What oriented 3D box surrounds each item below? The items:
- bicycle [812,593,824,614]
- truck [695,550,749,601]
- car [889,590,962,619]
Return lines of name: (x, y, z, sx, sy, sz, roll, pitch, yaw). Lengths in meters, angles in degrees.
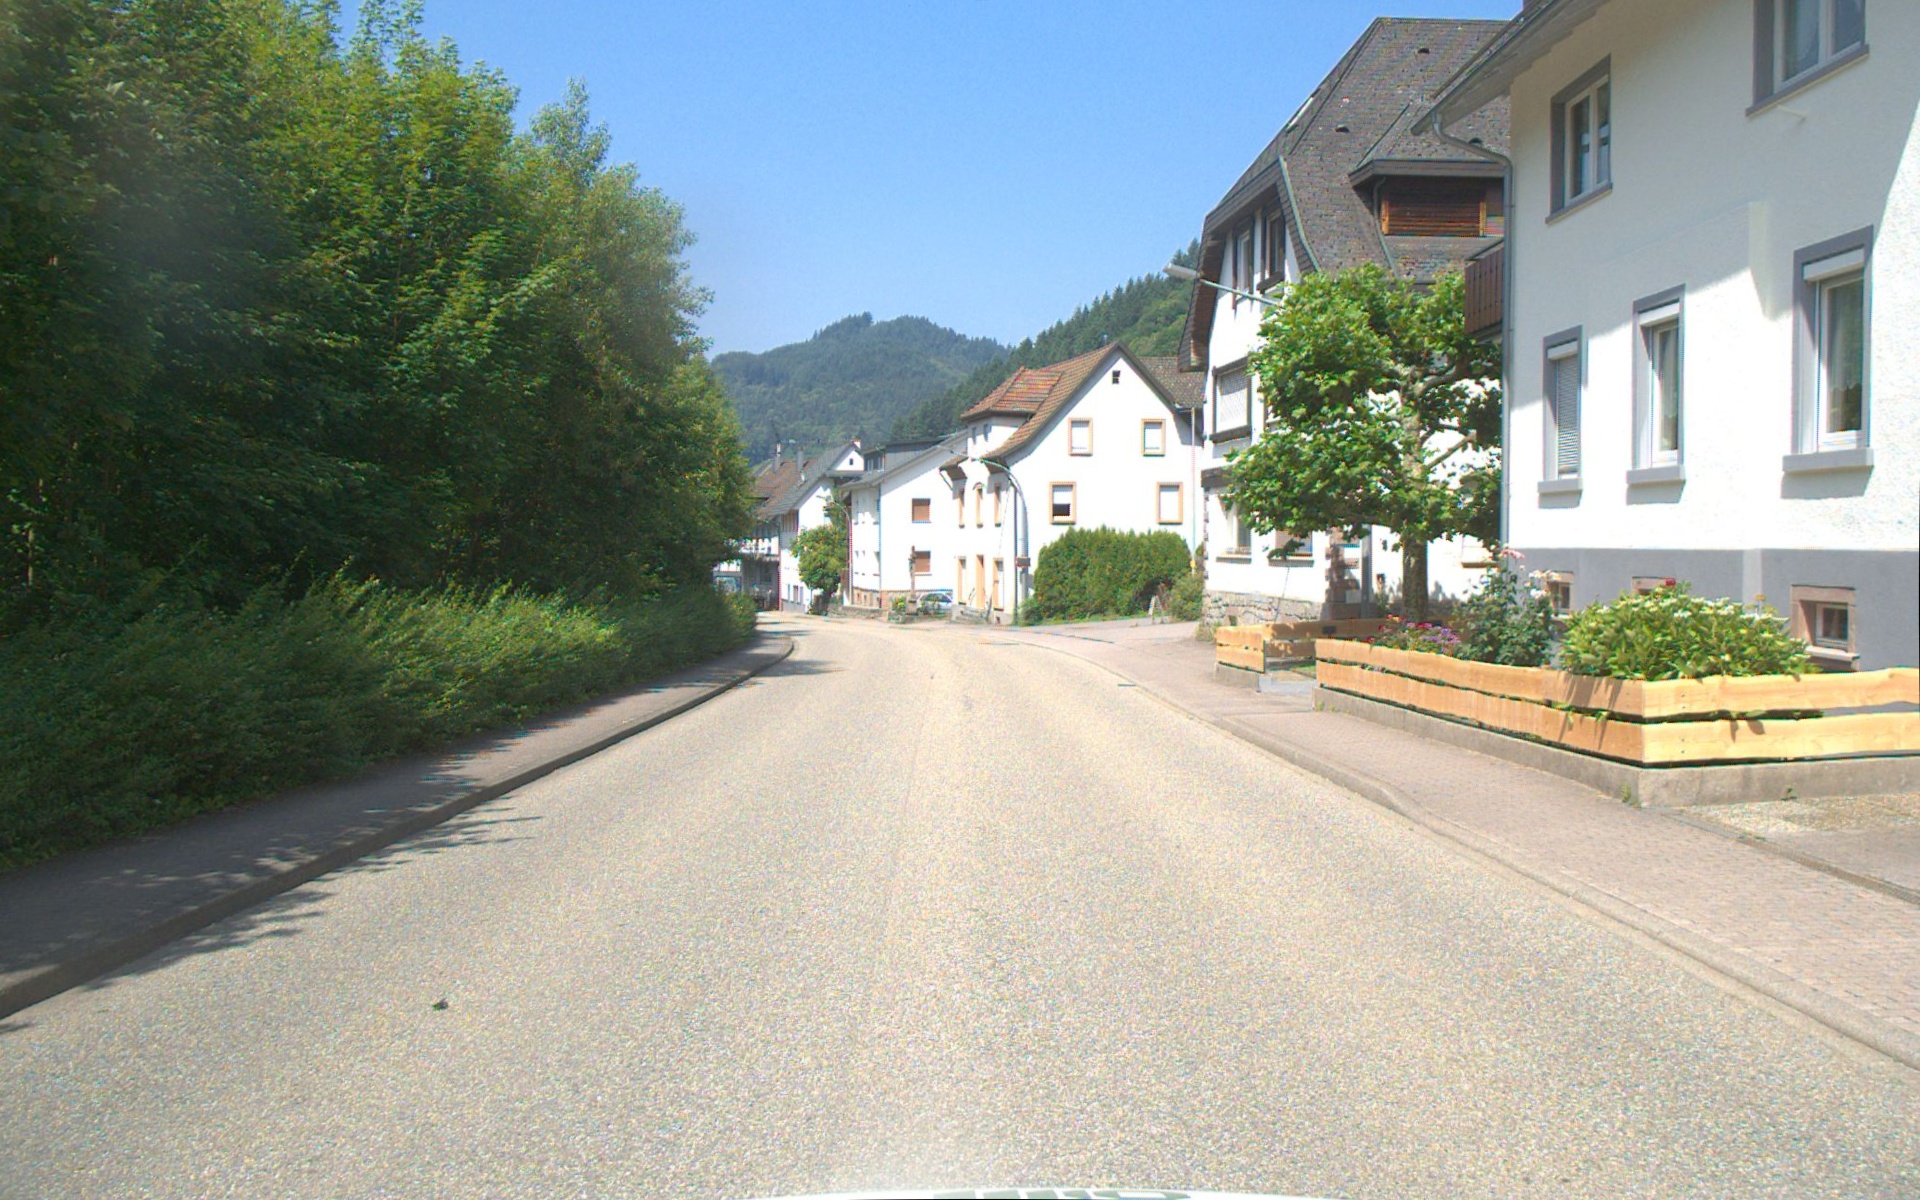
bicycle: (-9.834, 0.215, 114.754, 0.418, 1.420, 2.269, -4, 1, -12)
truck: (-20.728, -2.085, 143.601, 3.310, 3.847, 8.401, -4, -1, -16)
car: (-1.916, 0.234, 90.731, 3.696, 1.452, 1.606, -2, 0, 32)
